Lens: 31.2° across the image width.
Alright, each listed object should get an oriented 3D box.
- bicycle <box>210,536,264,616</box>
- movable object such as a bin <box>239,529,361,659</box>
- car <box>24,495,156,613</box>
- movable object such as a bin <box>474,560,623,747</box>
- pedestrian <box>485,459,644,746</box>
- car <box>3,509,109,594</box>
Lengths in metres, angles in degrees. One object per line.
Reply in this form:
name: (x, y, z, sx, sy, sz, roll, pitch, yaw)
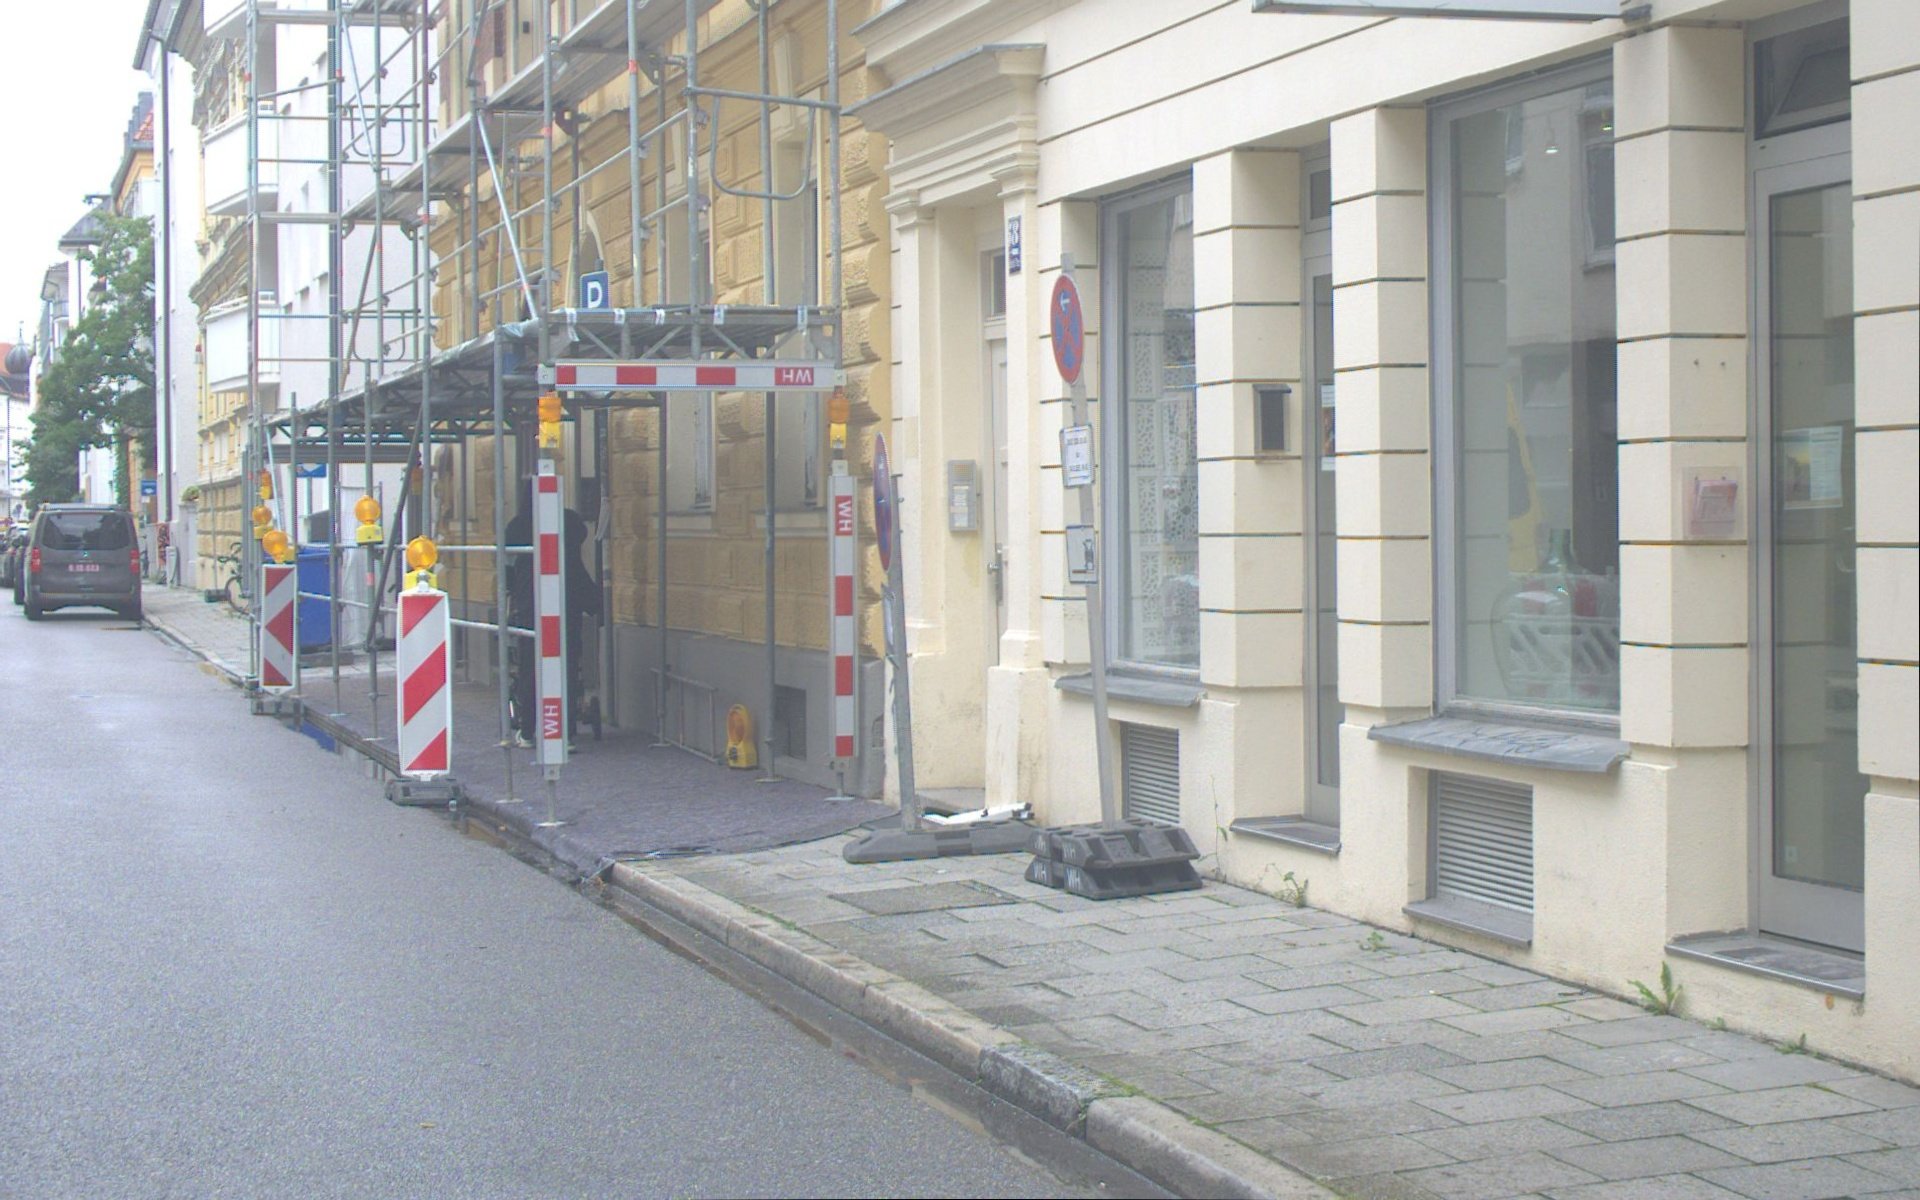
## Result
bicycle: (-11.212, -0.389, 53.280, 0.638, 1.149, 1.916, -3, 3, -15)
movable object such as a bin: (-7.330, -0.075, 38.253, 1.086, 1.341, 1.318, -3, 2, -3)
car: (-15.025, -0.819, 59.242, 1.993, 1.925, 4.661, 1, 1, -17)
movable object such as a bin: (-2.722, 0.339, 22.664, 0.729, 1.137, 0.988, -5, 3, -17)
pedestrian: (-2.540, 0.003, 21.997, 0.729, 1.746, 0.988, -4, 2, -16)
car: (-18.163, -1.006, 68.981, 1.893, 1.635, 4.323, -1, 2, -17)
